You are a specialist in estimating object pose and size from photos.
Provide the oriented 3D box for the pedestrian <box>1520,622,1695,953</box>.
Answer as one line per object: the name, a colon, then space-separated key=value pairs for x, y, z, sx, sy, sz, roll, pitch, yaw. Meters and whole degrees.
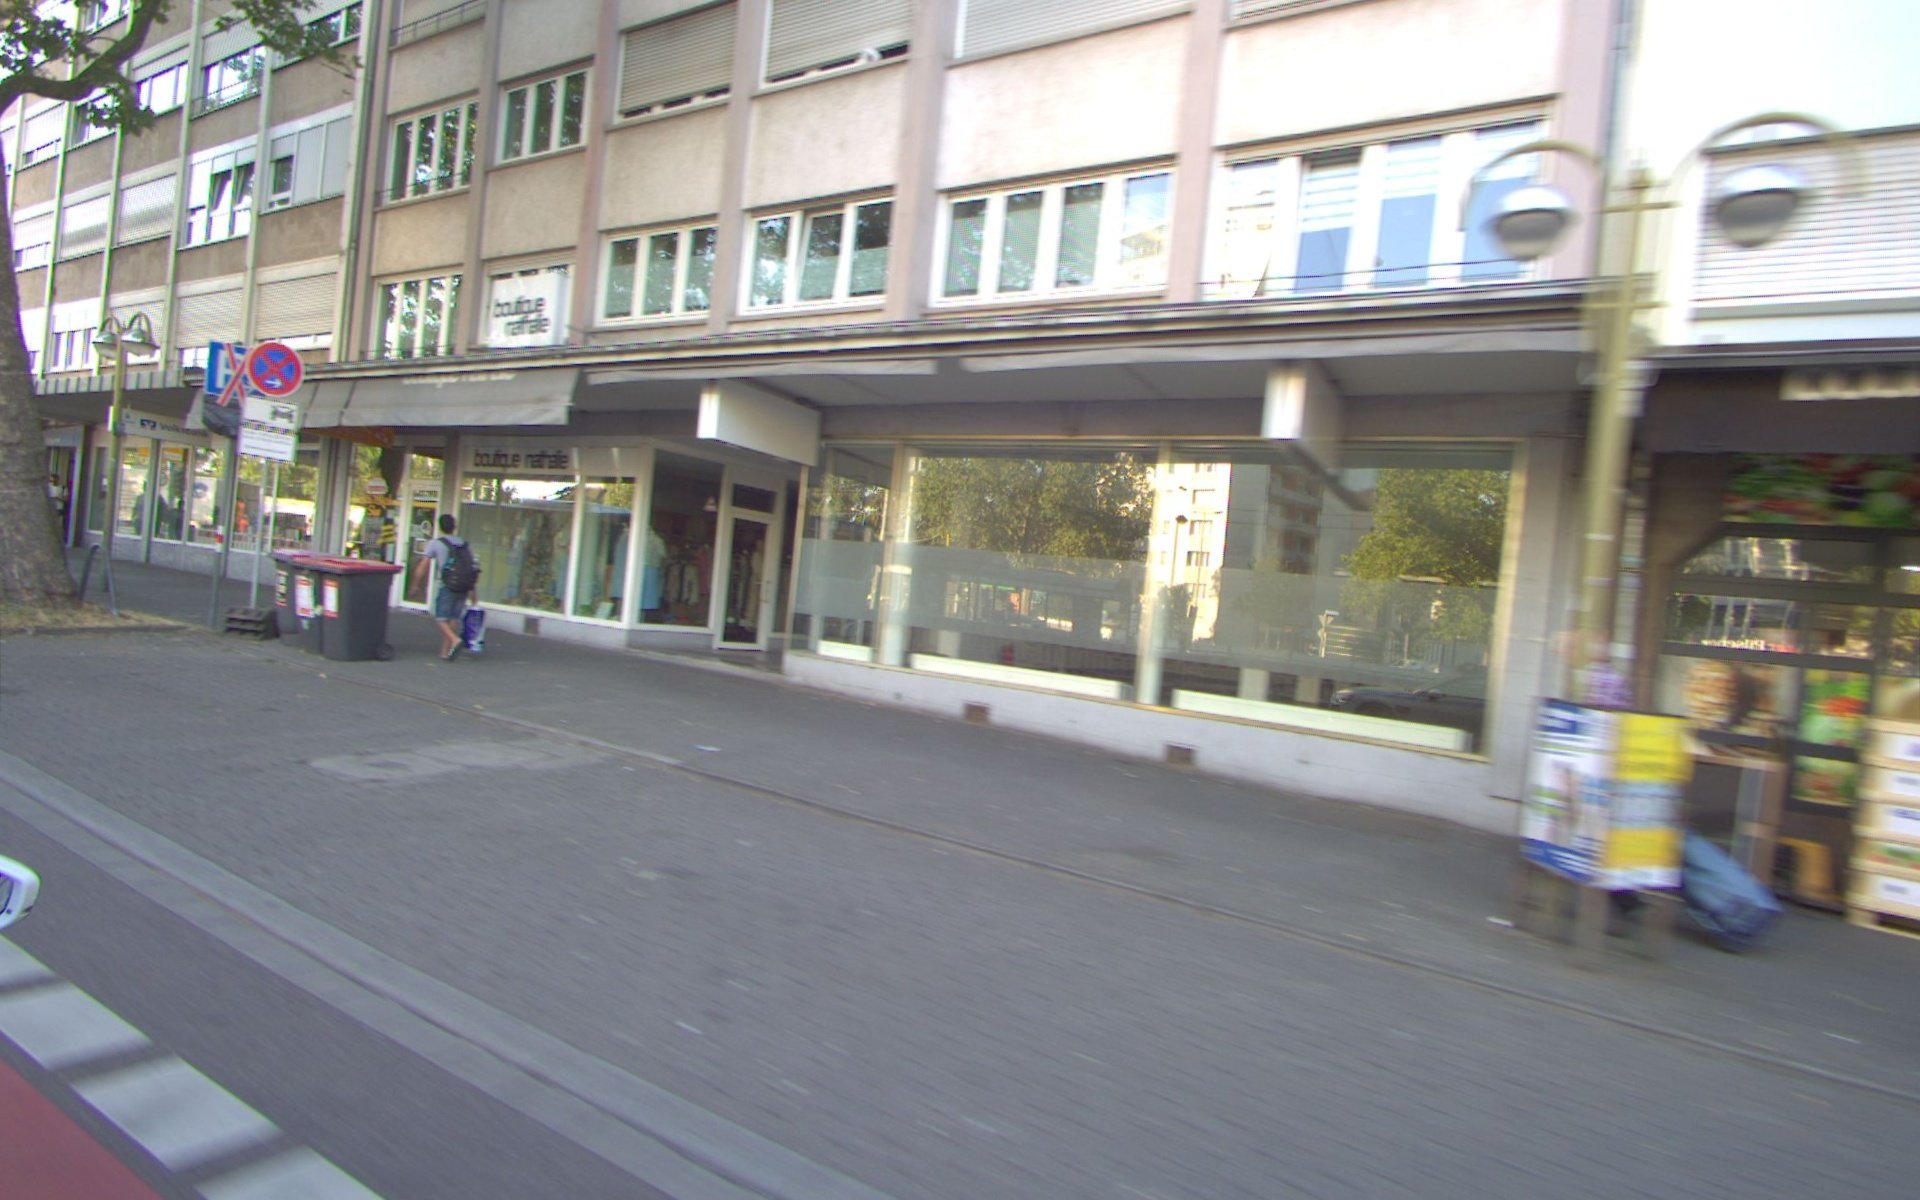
pedestrian: x=3.623 y=1.006 z=5.686 sx=0.545 sy=1.694 sz=0.647 roll=6 pitch=0 yaw=21

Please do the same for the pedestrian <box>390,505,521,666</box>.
pedestrian: x=-5.755 y=-0.164 z=11.482 sx=0.973 sy=1.695 sz=0.843 roll=7 pitch=2 yaw=31

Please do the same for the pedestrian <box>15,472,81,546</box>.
pedestrian: x=-22.371 y=-2.225 z=24.684 sx=1.053 sy=1.722 sz=0.898 roll=7 pitch=7 yaw=32

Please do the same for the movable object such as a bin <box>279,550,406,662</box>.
movable object such as a bin: x=-6.785 y=0.054 z=11.047 sx=1.207 sy=1.090 sz=0.674 roll=7 pitch=3 yaw=31

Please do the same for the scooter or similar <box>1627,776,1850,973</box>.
scooter or similar: x=4.297 y=1.494 z=5.604 sx=0.719 sy=0.854 sz=0.577 roll=6 pitch=0 yaw=10

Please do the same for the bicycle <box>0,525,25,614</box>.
bicycle: x=-11.916 y=-0.407 z=11.397 sx=0.633 sy=1.035 sz=1.791 roll=7 pitch=1 yaw=28

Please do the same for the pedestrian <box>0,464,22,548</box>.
pedestrian: x=-22.358 y=-2.194 z=23.176 sx=1.081 sy=1.896 sz=0.837 roll=7 pitch=5 yaw=31
